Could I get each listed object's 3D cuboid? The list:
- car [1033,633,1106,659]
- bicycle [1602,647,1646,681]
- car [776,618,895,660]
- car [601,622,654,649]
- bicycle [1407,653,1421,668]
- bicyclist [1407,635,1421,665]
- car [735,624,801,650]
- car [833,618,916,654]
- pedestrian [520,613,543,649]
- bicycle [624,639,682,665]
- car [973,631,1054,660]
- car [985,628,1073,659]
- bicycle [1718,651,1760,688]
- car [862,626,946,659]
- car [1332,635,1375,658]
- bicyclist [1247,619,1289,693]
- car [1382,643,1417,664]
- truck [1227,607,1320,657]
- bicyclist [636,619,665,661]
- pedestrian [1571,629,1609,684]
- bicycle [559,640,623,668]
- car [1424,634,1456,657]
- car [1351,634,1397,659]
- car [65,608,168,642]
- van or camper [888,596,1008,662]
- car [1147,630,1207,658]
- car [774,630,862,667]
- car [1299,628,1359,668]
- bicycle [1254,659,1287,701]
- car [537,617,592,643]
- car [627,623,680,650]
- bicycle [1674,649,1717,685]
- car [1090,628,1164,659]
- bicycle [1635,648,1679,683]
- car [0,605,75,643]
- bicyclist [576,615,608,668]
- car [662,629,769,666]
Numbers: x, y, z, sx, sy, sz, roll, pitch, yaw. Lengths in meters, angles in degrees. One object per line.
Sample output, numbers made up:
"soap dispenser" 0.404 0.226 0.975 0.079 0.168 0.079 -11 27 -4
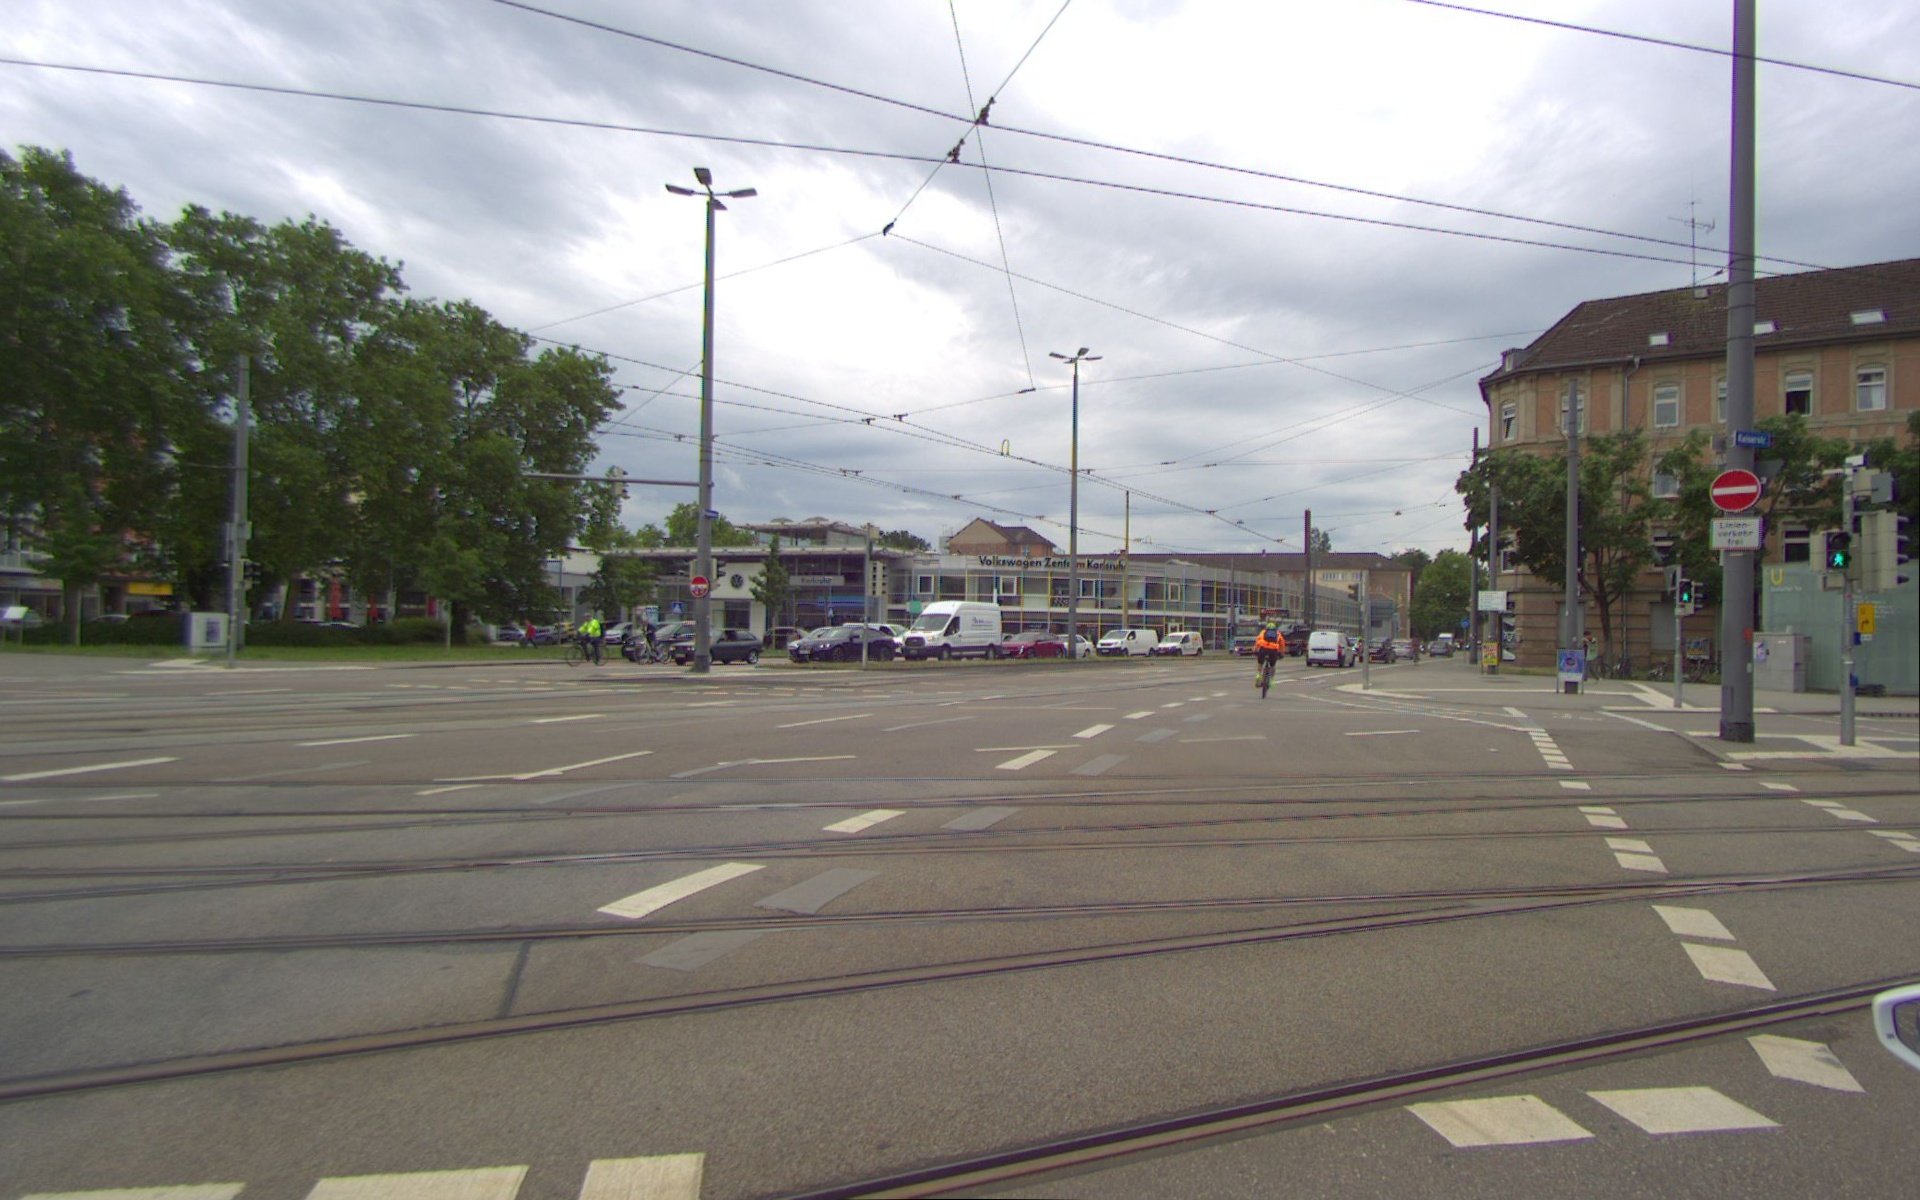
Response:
"car" 6.490 2.710 59.132 1.971 1.439 4.727 0 -2 41
"bicycle" 28.008 2.699 42.358 0.948 1.372 3.101 1 -2 45
"car" -4.581 1.448 37.701 1.965 1.439 4.652 0 -2 31
"car" -27.027 2.890 81.710 1.961 2.040 4.001 2 -2 20
"bicycle" 26.434 3.509 58.521 0.609 0.804 1.592 1 -2 20
"bicyclist" 26.428 2.894 58.500 0.676 1.730 0.798 1 -2 20
"car" -11.240 2.158 58.893 1.613 1.439 3.727 0 -2 34
"car" -5.278 2.199 61.563 4.698 2.040 2.116 1 -2 32
"pedestrian" -23.034 1.673 53.976 0.857 1.925 0.700 4 -2 -45
"bicycle" -11.419 1.927 37.460 0.511 0.938 2.215 0 -1 36
"car" 2.940 2.447 54.396 1.969 1.439 4.781 0 -2 38
"car" 3.488 2.149 49.877 1.969 1.439 4.781 0 -2 38
"bicycle" 31.215 2.771 40.204 0.948 1.372 3.101 1 -2 45
"car" -2.547 1.955 46.598 1.613 1.439 4.258 0 -2 34
"car" 34.434 4.078 87.939 1.972 1.863 4.497 0 -2 43
"bicyclist" 7.126 1.281 23.284 0.813 1.642 1.323 1 -2 13
"car" 34.535 4.233 78.877 1.828 1.528 3.989 1 -2 34
"truck" 24.756 2.575 78.944 9.161 3.596 2.767 4 -2 -43
"bicyclist" -11.492 1.464 37.312 0.558 1.528 0.854 0 0 36
"pedestrian" 20.747 1.853 33.072 0.894 1.750 0.603 1 -1 13
"bicycle" -12.937 1.877 35.280 0.511 0.942 2.215 0 -1 36
"car" 45.068 4.284 94.300 1.968 2.040 3.986 1 -2 36
"car" 26.042 2.910 63.104 1.966 1.439 3.989 0 -2 34
"car" -47.803 1.439 57.007 3.924 1.728 1.999 3 -2 -5
"van or camper" -0.410 1.323 44.216 2.381 2.645 6.039 1 -2 32
"car" 14.962 3.020 69.019 1.972 1.863 4.497 0 -2 43
"car" -5.811 1.987 41.434 1.612 1.439 3.730 0 -2 31
"car" 18.957 2.442 51.473 1.887 1.966 4.118 0 -2 35
"bicycle" 7.168 1.823 23.242 0.547 0.859 2.075 1 -2 13
"car" -32.748 2.526 83.296 1.961 2.040 4.001 2 -2 20
"car" -24.666 2.950 80.950 1.961 2.040 4.001 2 -2 20
"bicycle" 29.898 2.733 40.808 0.948 1.372 3.101 1 -2 45
"car" 10.665 2.771 63.990 2.132 1.881 5.421 0 -2 41
"bicycle" 28.891 2.715 41.622 0.948 1.372 3.101 1 -2 45
"car" -46.616 1.178 49.568 3.924 1.728 1.999 3 -2 -5
"bicyclist" -12.901 1.447 35.226 0.619 1.827 0.795 0 -2 36
"car" -8.954 1.726 37.012 1.662 1.263 3.730 0 -2 31
